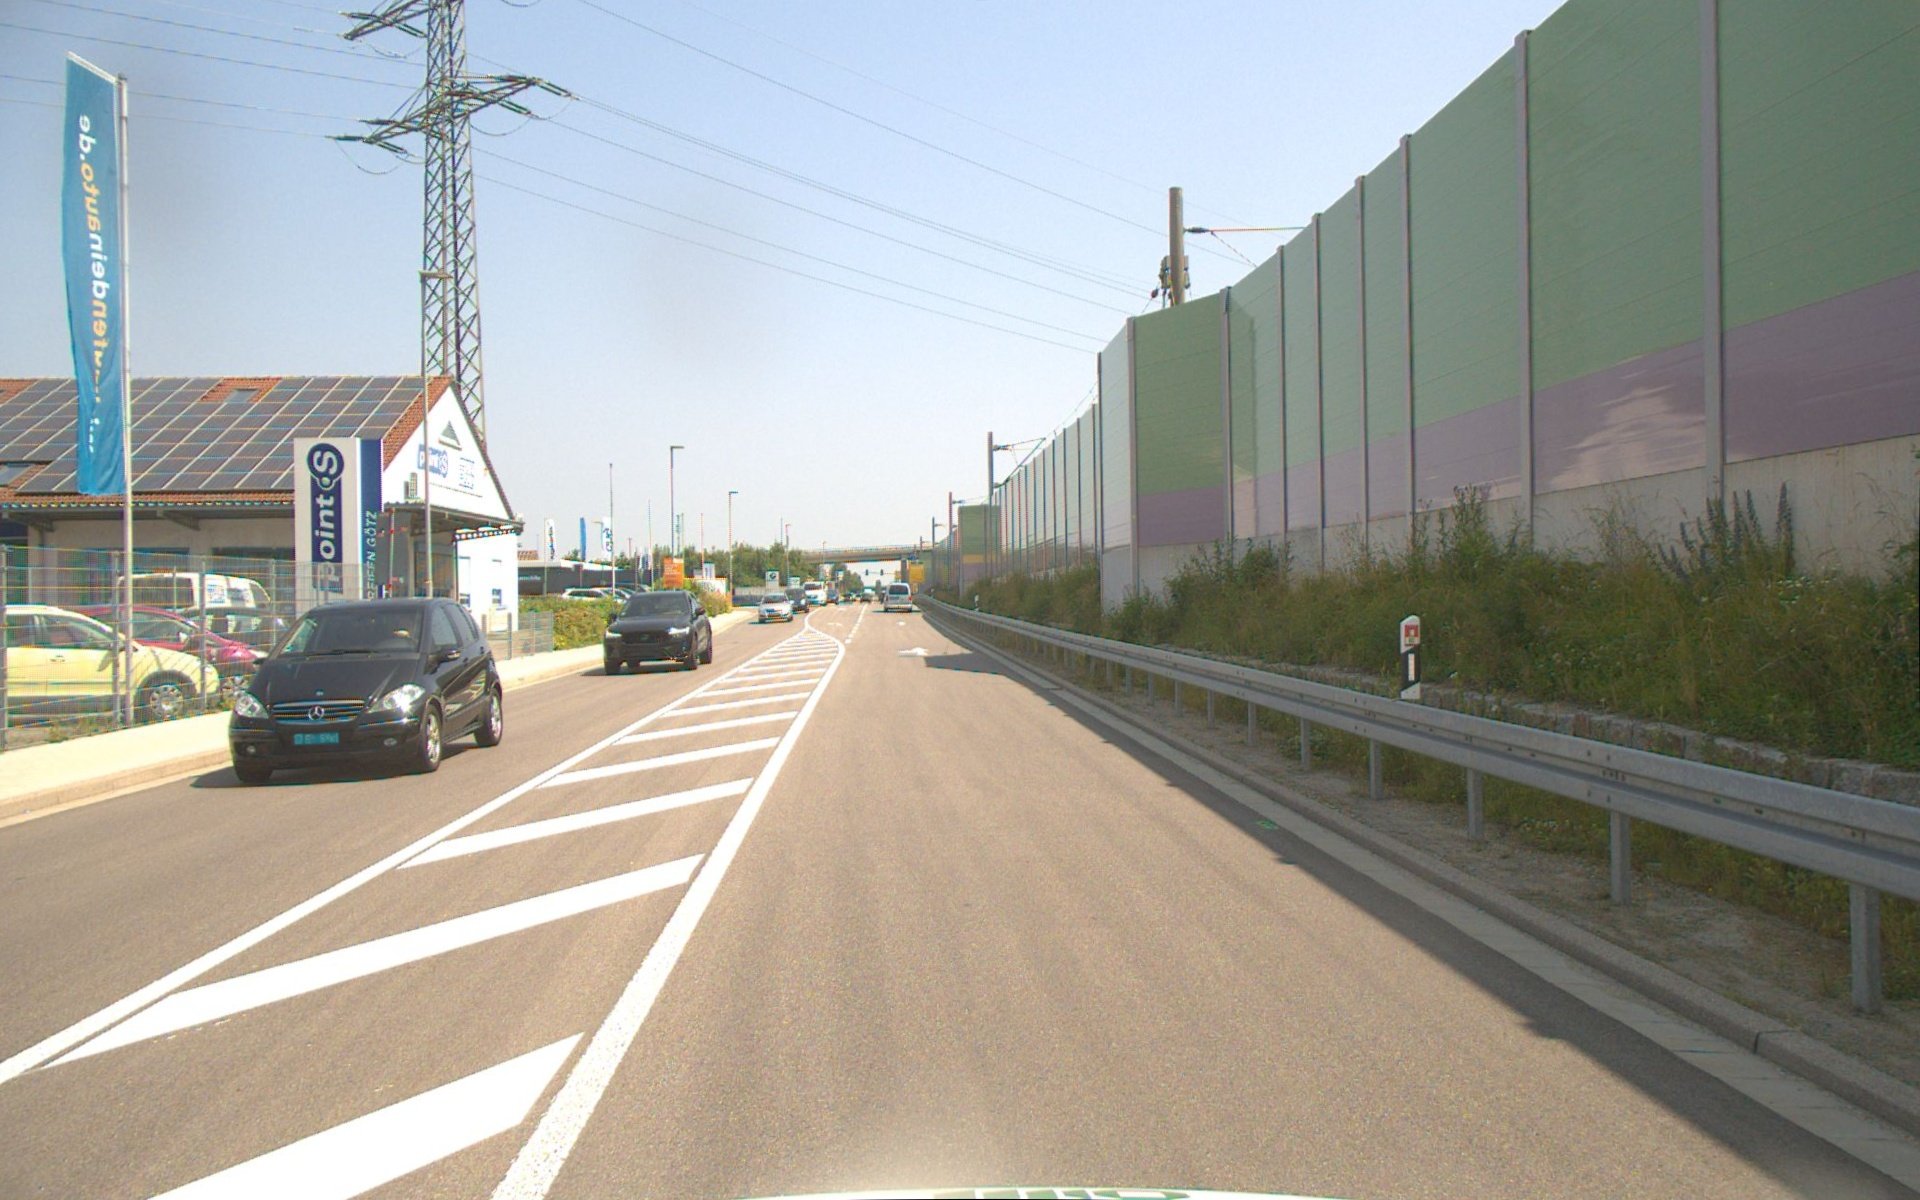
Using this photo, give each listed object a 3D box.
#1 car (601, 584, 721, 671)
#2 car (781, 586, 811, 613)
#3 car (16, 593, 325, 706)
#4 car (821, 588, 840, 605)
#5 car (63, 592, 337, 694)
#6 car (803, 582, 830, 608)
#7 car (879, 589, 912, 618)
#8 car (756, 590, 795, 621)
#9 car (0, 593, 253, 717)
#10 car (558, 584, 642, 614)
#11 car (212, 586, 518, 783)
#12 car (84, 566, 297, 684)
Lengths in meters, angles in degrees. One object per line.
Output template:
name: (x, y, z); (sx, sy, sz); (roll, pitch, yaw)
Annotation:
car: (-6.372, 0.546, 35.698); (1.844, 1.645, 4.520); (-3, 0, -2)
car: (-10.513, -0.017, 106.160); (1.635, 1.628, 3.970); (-3, 0, -3)
car: (-11.796, 0.687, 24.795); (3.955, 1.519, 1.722); (-1, 0, -36)
car: (-11.836, -0.345, 151.301); (1.638, 1.447, 3.998); (-3, 0, -3)
car: (-12.353, 0.651, 26.956); (3.942, 1.519, 1.727); (-1, 0, -29)
car: (-11.216, -0.370, 128.908); (1.955, 1.907, 5.163); (-2, 0, -6)
car: (-3.992, 0.212, 103.367); (1.953, 1.788, 3.999); (-1, 0, -1)
car: (-9.629, 0.287, 86.528); (1.729, 1.491, 4.256); (-3, 0, -4)
car: (-11.740, 0.691, 21.954); (4.052, 1.519, 1.720); (-1, 0, -39)
car: (-19.402, -0.045, 89.262); (4.141, 1.481, 1.763); (2, 0, -5)
car: (-5.646, 0.720, 16.201); (1.707, 1.621, 3.794); (-3, 0, -3)
car: (-14.575, 0.460, 31.638); (1.953, 2.049, 4.678); (-2, -1, -2)
